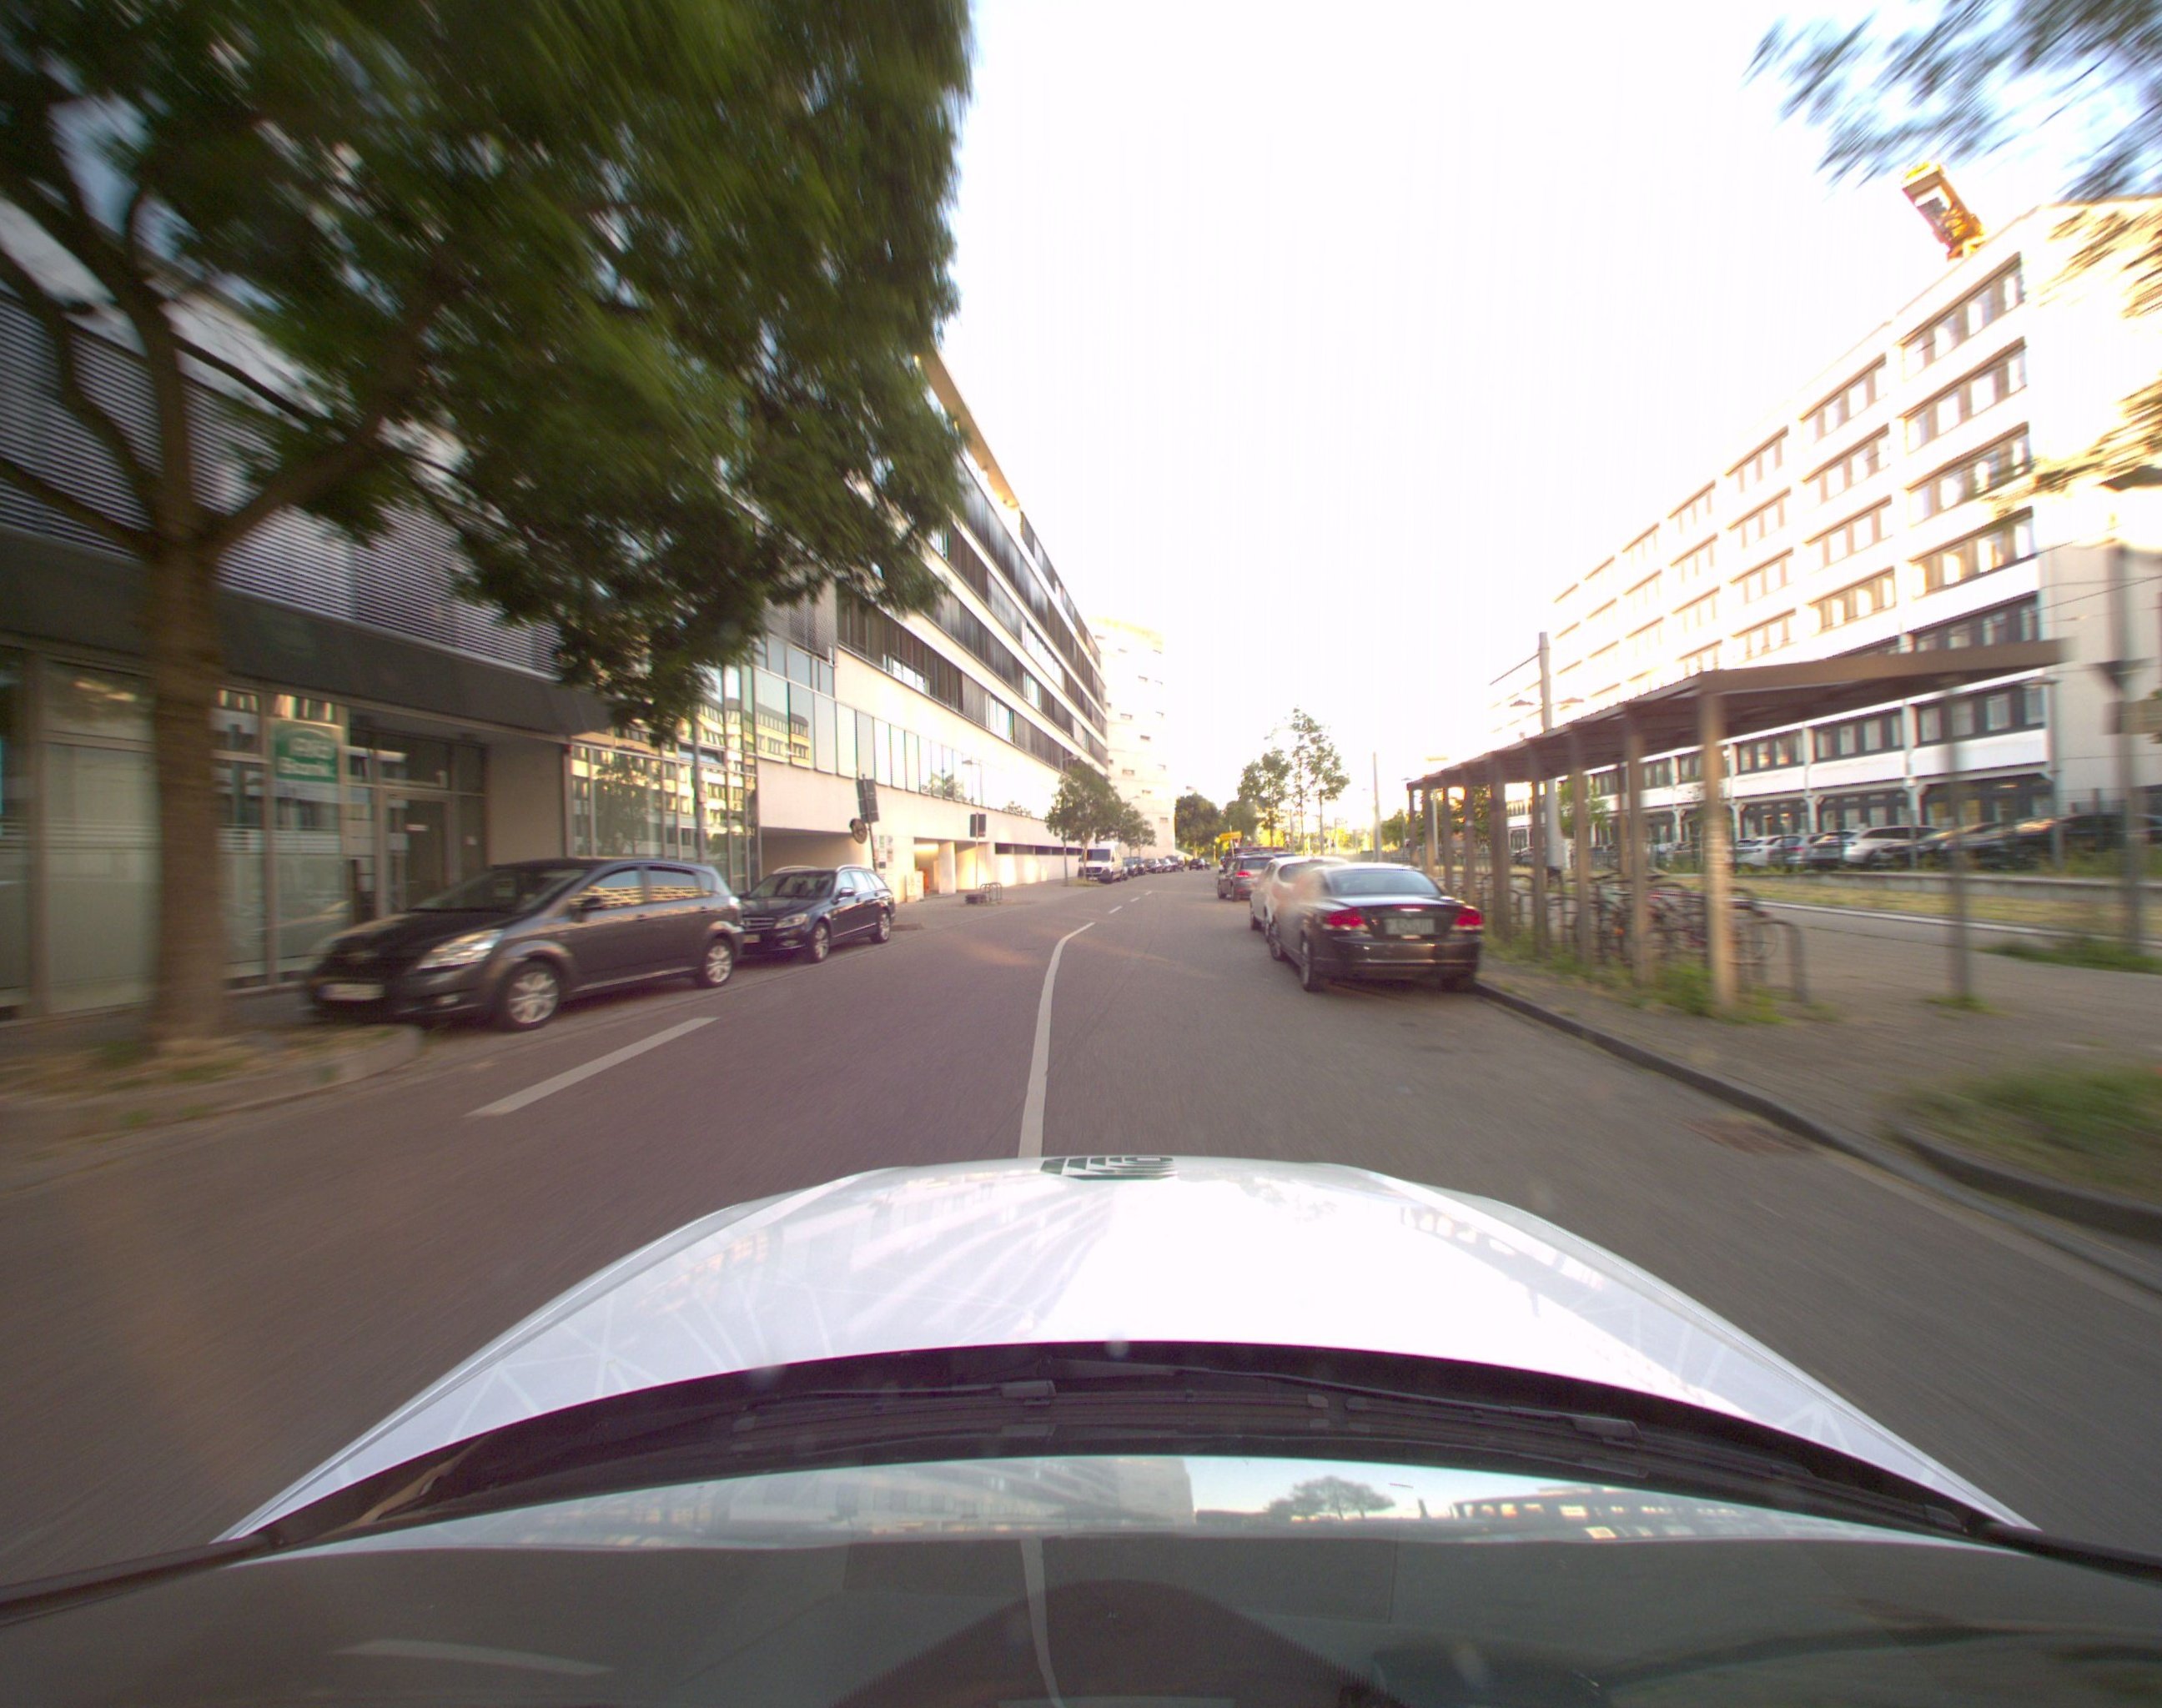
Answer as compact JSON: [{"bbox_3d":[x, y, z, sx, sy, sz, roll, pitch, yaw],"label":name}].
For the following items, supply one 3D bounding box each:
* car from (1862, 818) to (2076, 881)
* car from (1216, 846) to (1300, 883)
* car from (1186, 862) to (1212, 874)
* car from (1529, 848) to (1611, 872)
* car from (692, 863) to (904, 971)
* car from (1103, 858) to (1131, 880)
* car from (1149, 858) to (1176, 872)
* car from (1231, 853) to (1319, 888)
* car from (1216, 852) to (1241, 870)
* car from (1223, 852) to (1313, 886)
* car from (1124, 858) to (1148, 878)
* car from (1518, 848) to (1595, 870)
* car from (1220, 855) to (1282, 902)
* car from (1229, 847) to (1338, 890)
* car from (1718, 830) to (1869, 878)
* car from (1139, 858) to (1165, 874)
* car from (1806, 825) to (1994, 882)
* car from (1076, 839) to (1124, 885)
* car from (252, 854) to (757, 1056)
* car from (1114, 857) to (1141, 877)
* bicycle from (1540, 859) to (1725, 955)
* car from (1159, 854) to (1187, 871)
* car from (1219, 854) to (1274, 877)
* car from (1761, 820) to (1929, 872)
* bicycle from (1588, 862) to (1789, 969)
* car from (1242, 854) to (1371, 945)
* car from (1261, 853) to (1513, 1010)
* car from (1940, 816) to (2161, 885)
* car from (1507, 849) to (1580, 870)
[{"bbox_3d":[25.824,-0.116,23.819,3.963,1.487,1.680,-4,-1,9],"label":"car"},{"bbox_3d":[10.334,0.586,47.444,4.610,2.035,1.856,0,0,-25],"label":"car"},{"bbox_3d":[14.414,1.672,99.553,1.926,1.382,4.424,0,0,25],"label":"car"},{"bbox_3d":[29.512,0.352,49.229,3.965,1.398,1.595,0,0,7],"label":"car"},{"bbox_3d":[-4.514,0.929,13.790,1.707,1.452,4.405,-2,0,5],"label":"car"},{"bbox_3d":[2.531,1.028,56.394,1.748,1.439,3.906,0,0,4],"label":"car"},{"bbox_3d":[8.525,1.124,84.529,1.708,1.457,4.717,0,0,19],"label":"car"},{"bbox_3d":[9.428,0.800,39.508,4.009,1.595,1.721,1,-1,-27],"label":"car"},{"bbox_3d":[13.418,0.619,73.921,1.709,1.467,3.568,-3,-1,17],"label":"car"},{"bbox_3d":[10.199,0.762,44.292,4.610,1.749,1.856,0,0,-25],"label":"car"},{"bbox_3d":[4.845,1.222,70.997,1.746,1.653,3.958,0,0,8],"label":"car"},{"bbox_3d":[30.521,0.298,52.348,3.965,1.398,1.595,0,0,7],"label":"car"},{"bbox_3d":[5.597,0.785,27.250,1.722,1.466,4.008,0,-1,7],"label":"car"},{"bbox_3d":[8.284,0.604,33.278,4.008,1.520,1.911,-2,-2,-27],"label":"car"},{"bbox_3d":[27.269,0.005,31.277,3.965,1.513,1.828,-4,-1,7],"label":"car"},{"bbox_3d":[6.945,1.119,79.325,1.709,1.457,4.289,0,0,15],"label":"car"},{"bbox_3d":[26.185,-0.003,26.166,3.963,1.487,1.680,-4,-1,9],"label":"car"},{"bbox_3d":[1.263,0.441,49.958,1.946,2.617,6.911,0,0,10],"label":"car"},{"bbox_3d":[-5.480,0.813,8.604,1.833,1.571,4.278,-2,0,9],"label":"car"},{"bbox_3d":[3.722,1.011,65.040,1.745,1.561,4.054,0,0,9],"label":"car"},{"bbox_3d":[6.691,0.642,9.947,1.795,1.066,0.488,-3,-2,8],"label":"bicycle"},{"bbox_3d":[10.134,0.909,89.654,1.741,1.798,4.488,0,0,24],"label":"car"},{"bbox_3d":[12.699,0.844,62.523,3.784,1.726,1.750,0,0,-24],"label":"car"},{"bbox_3d":[26.621,-0.268,28.503,3.963,1.487,1.680,-4,-1,9],"label":"car"},{"bbox_3d":[6.561,0.660,8.848,1.709,1.066,0.422,-3,-2,8],"label":"bicycle"},{"bbox_3d":[4.099,0.754,15.439,1.667,1.452,4.194,-2,0,6],"label":"car"},{"bbox_3d":[3.386,0.746,9.979,1.778,1.452,4.523,-2,0,6],"label":"car"},{"bbox_3d":[25.550,-0.083,21.297,3.963,1.487,1.680,-4,-1,9],"label":"car"},{"bbox_3d":[30.938,0.355,54.609,3.965,1.398,1.595,0,0,7],"label":"car"}]
